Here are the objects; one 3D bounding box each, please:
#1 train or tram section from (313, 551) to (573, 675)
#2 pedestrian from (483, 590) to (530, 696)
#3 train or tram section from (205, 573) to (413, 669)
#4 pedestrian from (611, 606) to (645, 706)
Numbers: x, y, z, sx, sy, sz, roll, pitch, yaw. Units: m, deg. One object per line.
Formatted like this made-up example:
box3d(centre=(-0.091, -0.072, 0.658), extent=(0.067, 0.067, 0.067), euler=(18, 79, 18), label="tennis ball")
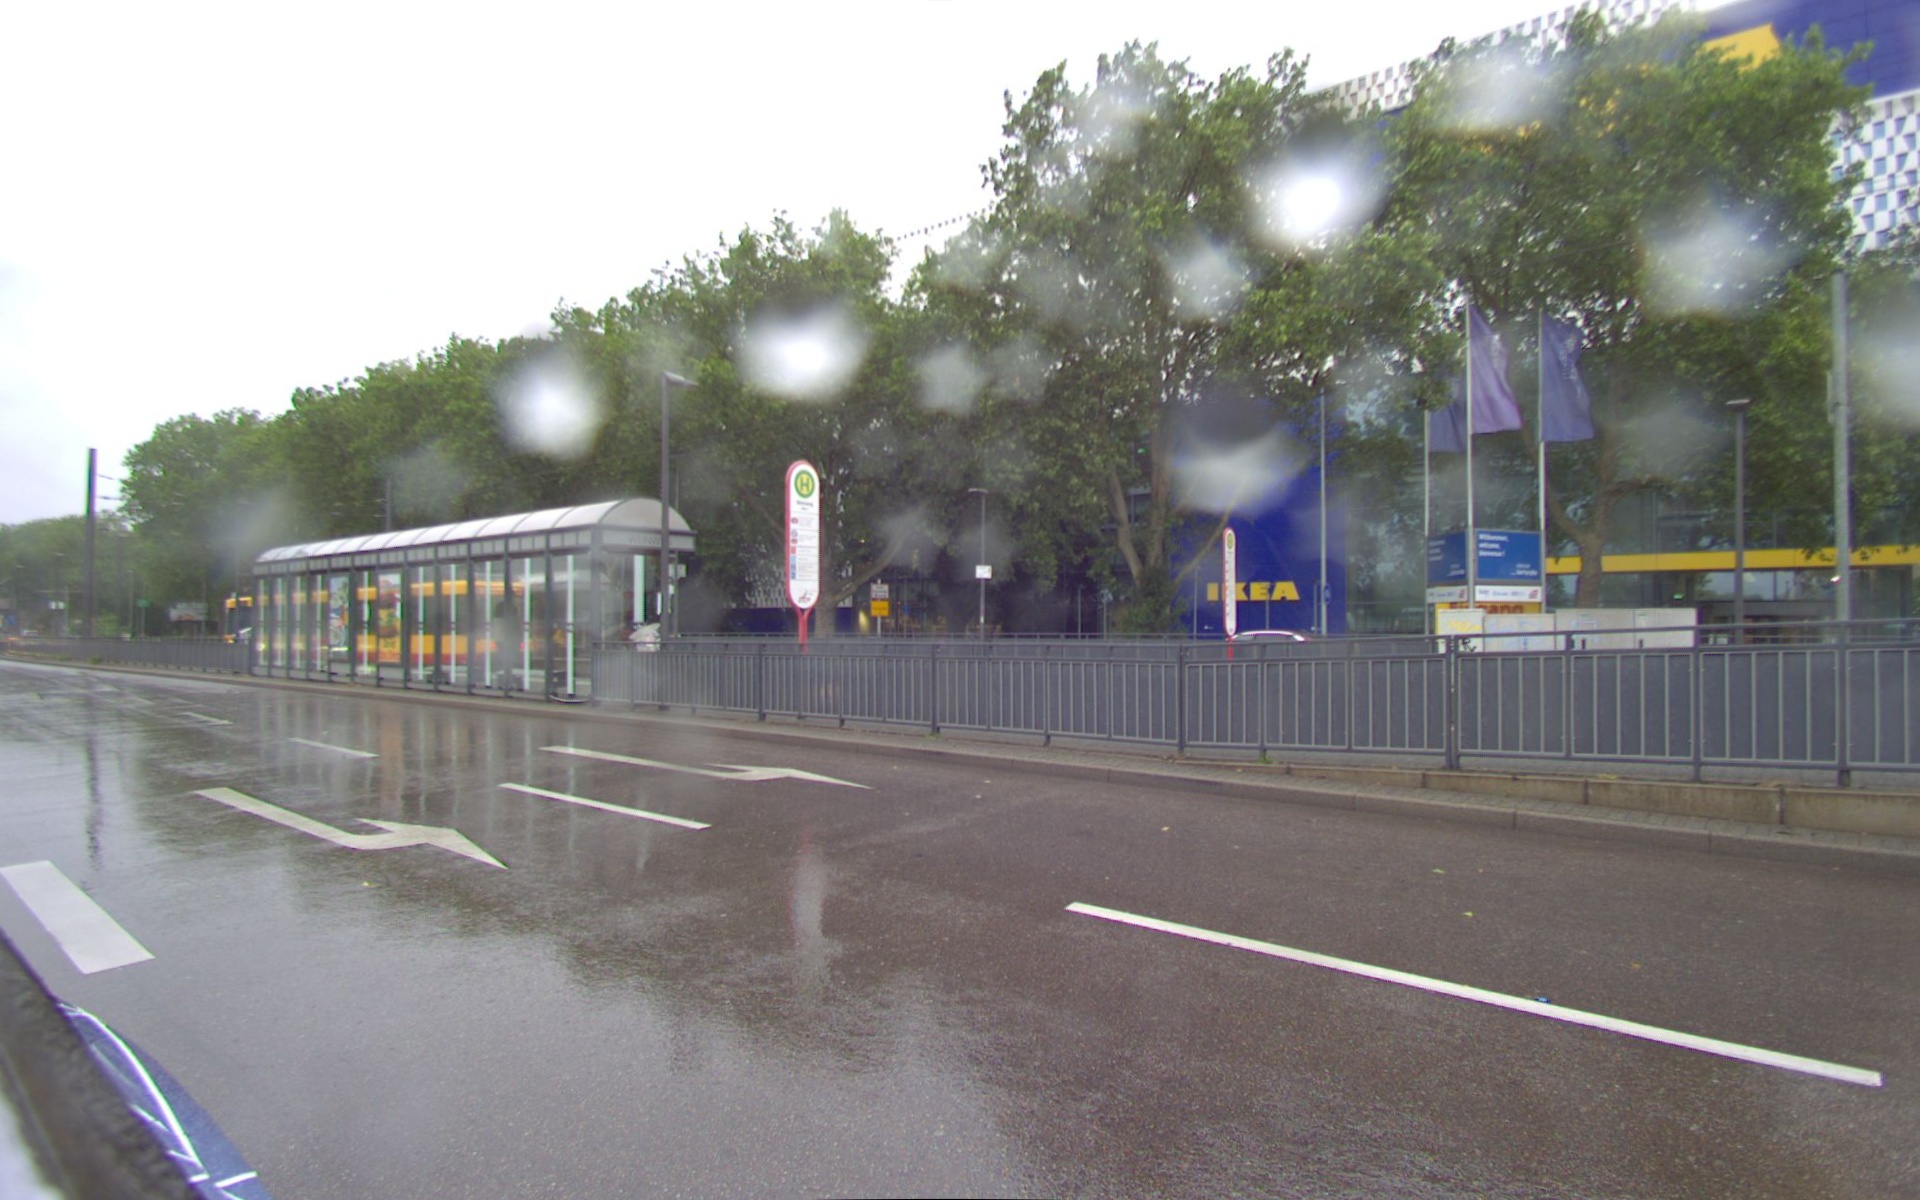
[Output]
box3d(centre=(-19.433, 0.483, 37.310), extent=(13.245, 3.868, 3.703), euler=(-1, 0, 40), label="train or tram section")
box3d(centre=(-8.272, 0.766, 18.451), extent=(0.646, 1.885, 0.774), euler=(-1, 0, -33), label="pedestrian")
box3d(centre=(-30.387, 0.918, 46.673), extent=(15.560, 3.827, 3.703), euler=(-1, 0, 40), label="train or tram section")
box3d(centre=(-5.124, 0.853, 15.617), extent=(0.317, 1.504, 0.416), euler=(-2, 1, -44), label="pedestrian")
